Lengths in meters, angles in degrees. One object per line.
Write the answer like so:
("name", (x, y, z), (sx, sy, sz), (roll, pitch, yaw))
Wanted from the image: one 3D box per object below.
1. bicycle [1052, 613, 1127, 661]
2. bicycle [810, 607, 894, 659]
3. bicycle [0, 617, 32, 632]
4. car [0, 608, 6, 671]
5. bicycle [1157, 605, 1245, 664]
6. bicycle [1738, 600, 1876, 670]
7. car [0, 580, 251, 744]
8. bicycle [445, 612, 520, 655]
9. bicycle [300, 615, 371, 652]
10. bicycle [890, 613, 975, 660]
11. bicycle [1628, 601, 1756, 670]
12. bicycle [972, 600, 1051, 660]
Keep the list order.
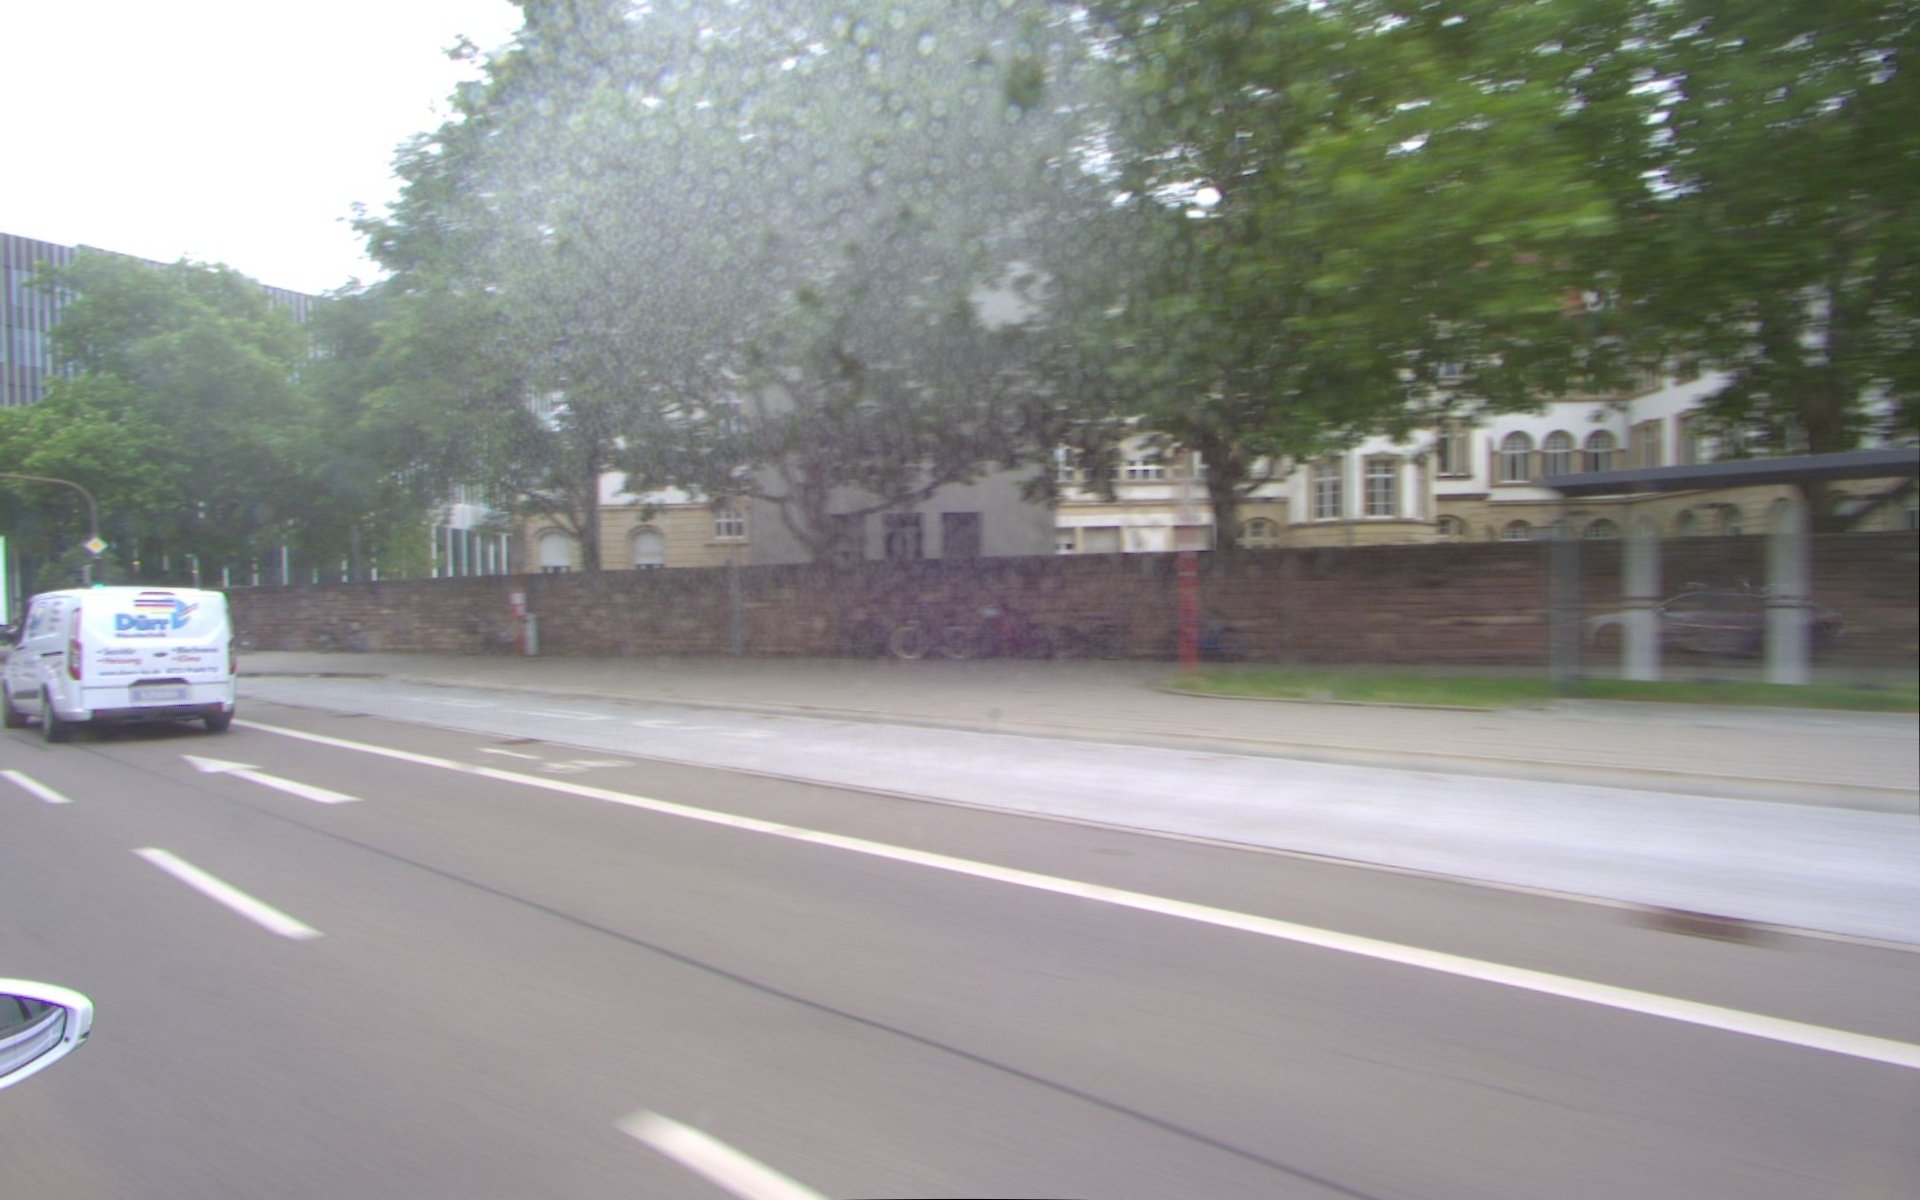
("bicycle", (2.698, 0.760, 20.875), (1.499, 0.955, 0.416), (-1, 2, 22))
("bicycle", (-2.467, 0.748, 22.877), (1.758, 1.115, 0.720), (-1, 2, 10))
("bicycle", (-60.831, 1.566, 64.179), (0.685, 0.911, 1.888), (-1, 2, 18))
("car", (-27.287, 1.037, 26.992), (3.705, 1.645, 1.940), (0, 0, 41))
("bicycle", (4.754, 0.671, 19.764), (1.625, 1.119, 0.597), (-1, 2, 19))
("bicycle", (14.353, 0.592, 17.006), (1.681, 1.145, 0.595), (-1, 2, 13))
("car", (-12.038, 0.795, 14.334), (4.289, 1.998, 1.959), (0, -1, 38))
("bicycle", (-13.544, 0.939, 28.391), (1.892, 1.143, 0.848), (-1, 2, 24))
("bicycle", (-19.802, 1.046, 31.743), (1.937, 1.088, 0.939), (-1, 2, 24))
("bicycle", (-0.599, 0.799, 22.101), (1.740, 0.964, 0.653), (-1, 2, 22))
("bicycle", (12.700, 0.620, 17.411), (1.681, 1.152, 0.595), (-1, 2, 13))
("bicycle", (1.096, 0.636, 21.507), (1.599, 1.238, 0.499), (-1, 2, 22))
